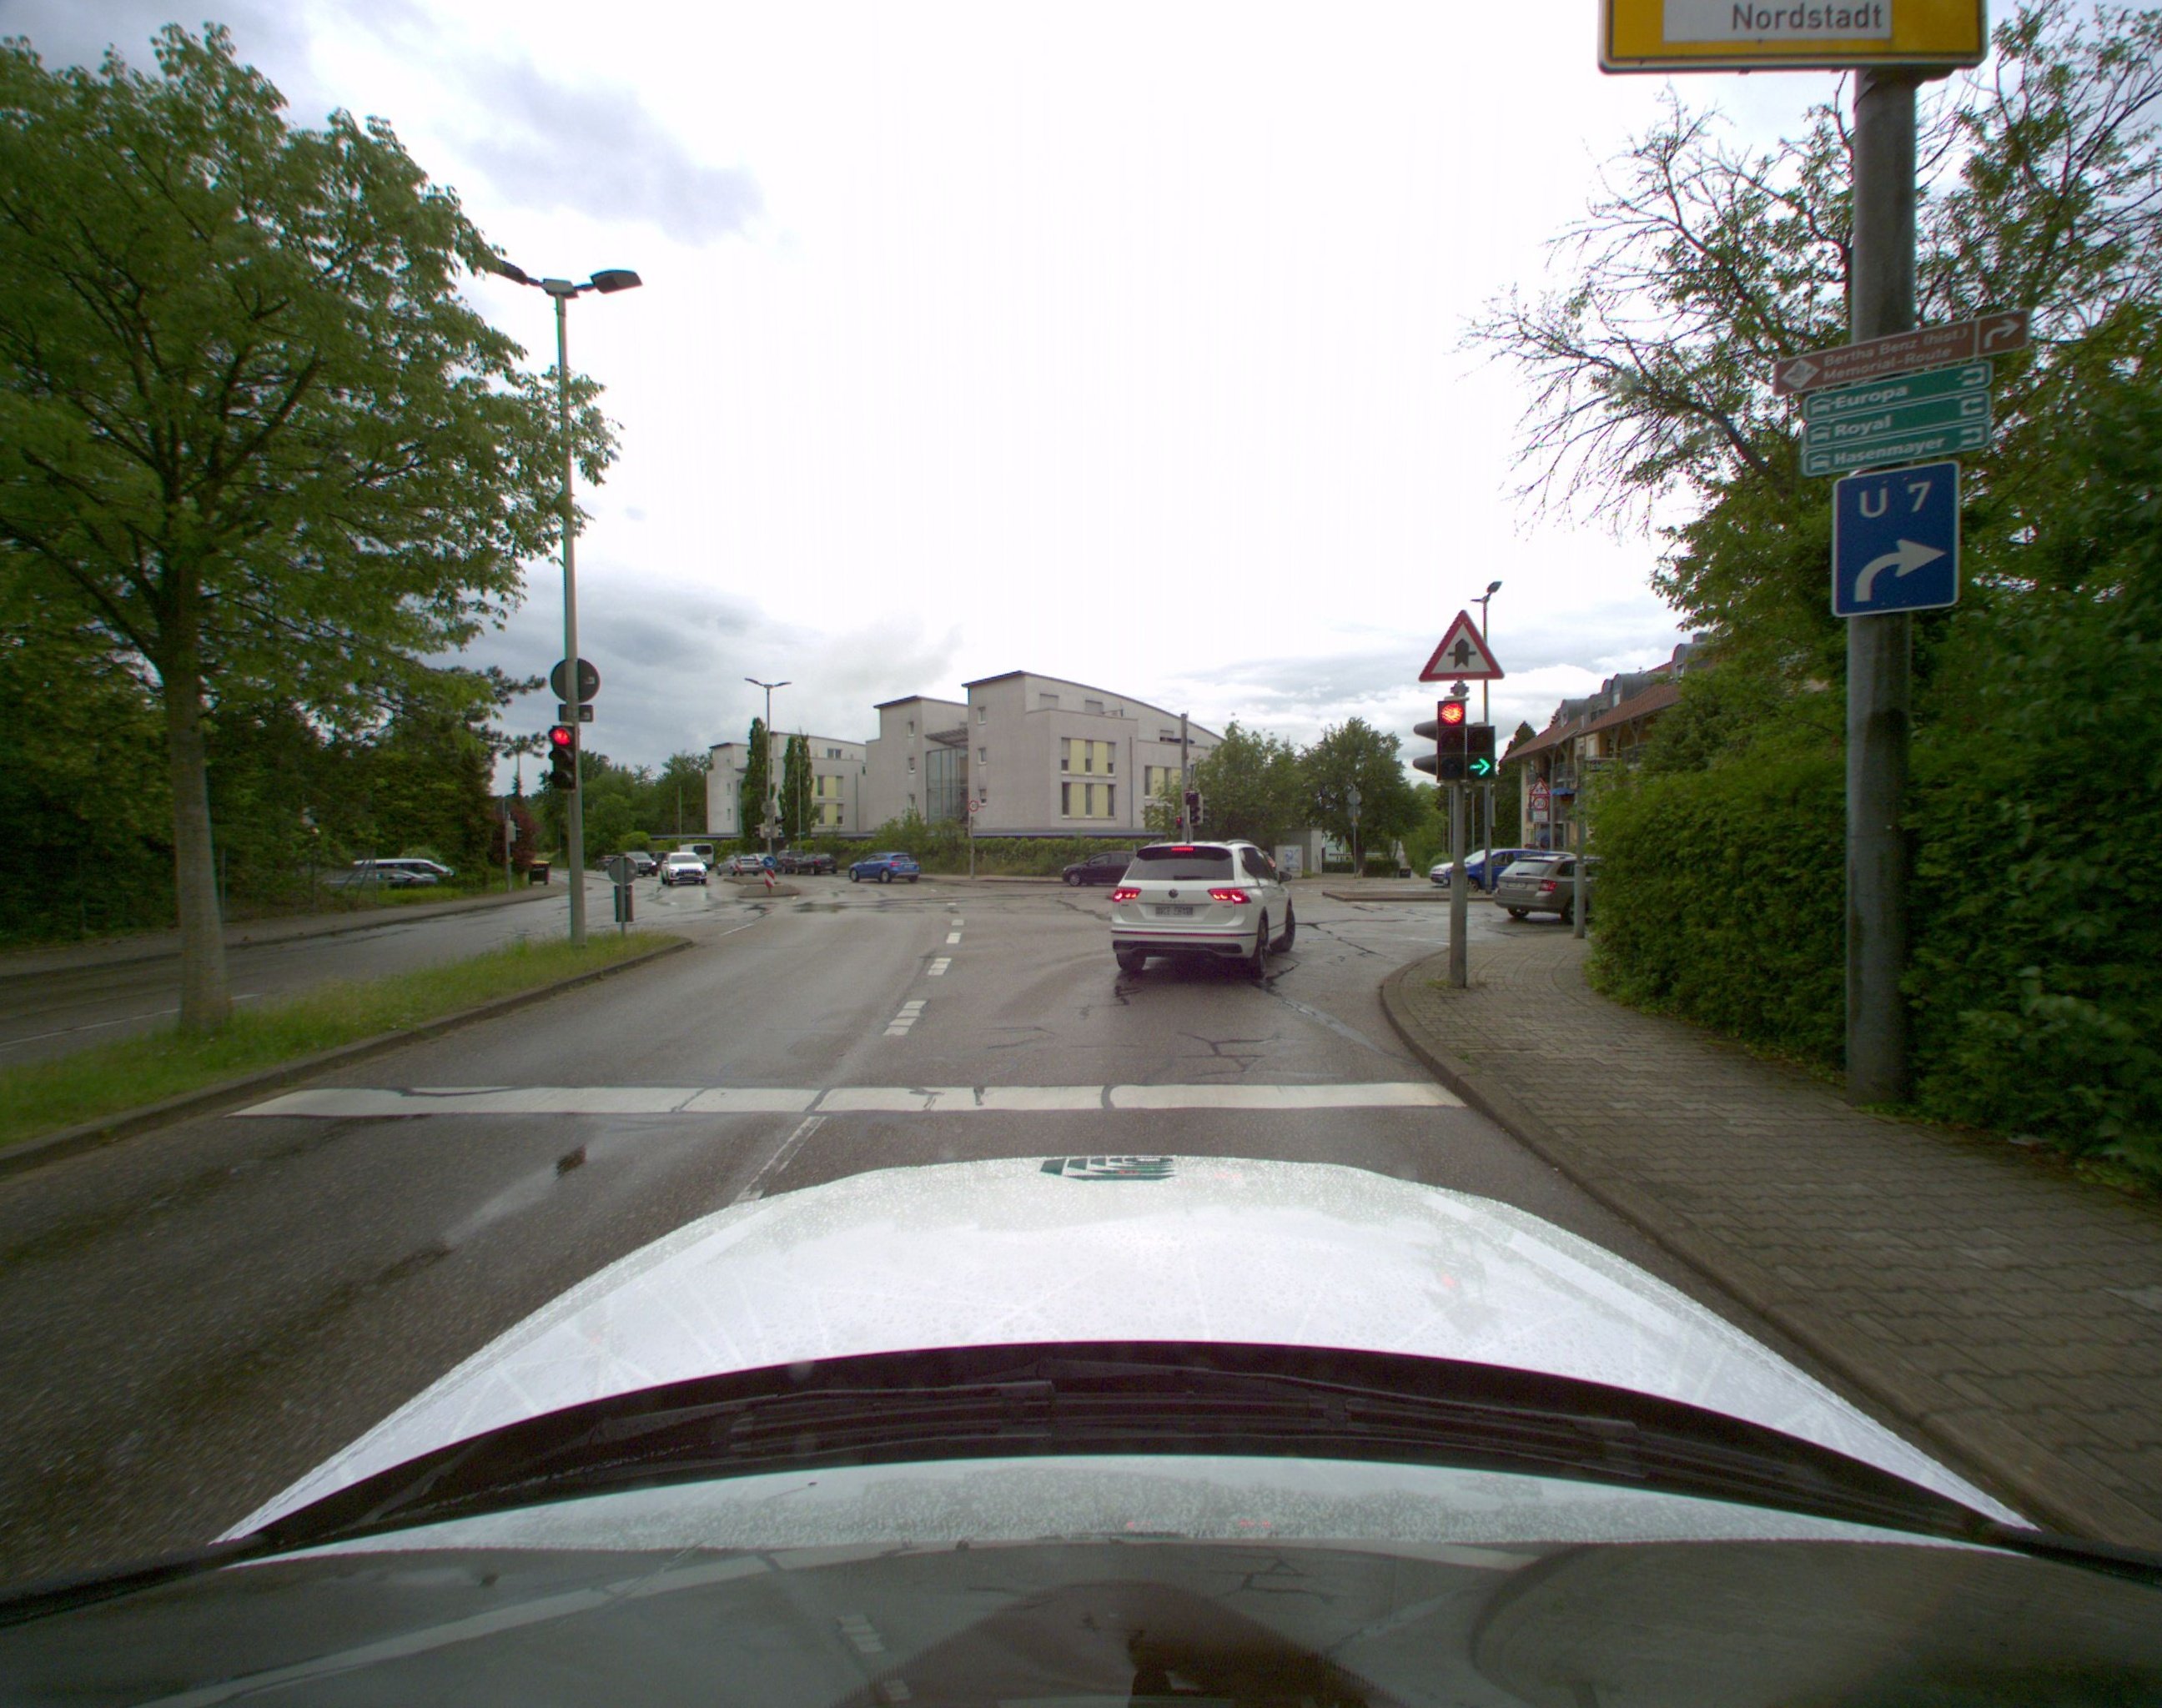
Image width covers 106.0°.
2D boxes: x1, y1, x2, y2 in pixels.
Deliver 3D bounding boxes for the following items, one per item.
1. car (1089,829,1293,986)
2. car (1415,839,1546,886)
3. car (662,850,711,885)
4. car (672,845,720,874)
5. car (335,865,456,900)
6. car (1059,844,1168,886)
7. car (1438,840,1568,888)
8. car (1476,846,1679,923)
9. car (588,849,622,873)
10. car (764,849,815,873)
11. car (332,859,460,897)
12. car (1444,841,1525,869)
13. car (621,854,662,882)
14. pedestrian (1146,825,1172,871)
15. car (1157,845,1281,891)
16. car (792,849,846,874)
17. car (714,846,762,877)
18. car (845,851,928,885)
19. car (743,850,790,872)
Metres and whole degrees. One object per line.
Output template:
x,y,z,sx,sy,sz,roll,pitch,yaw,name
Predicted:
1.729,0.583,11.265,1.905,1.722,4.286,0,0,20,car
14.813,0.311,30.280,3.989,1.670,1.993,0,1,-11,car
-20.323,0.645,41.890,2.006,1.639,3.963,-1,2,-29,car
-34.270,0.508,72.486,2.614,2.413,5.194,-2,-1,-40,car
-28.085,1.127,33.515,3.600,1.241,1.637,-1,2,-32,car
1.347,0.449,33.607,3.951,1.551,2.012,-2,2,24,car
13.493,0.322,26.172,3.408,1.456,1.529,-1,0,9,car
11.205,0.634,18.423,3.999,1.509,1.760,0,4,-19,car
-47.530,0.658,81.276,1.992,2.013,3.952,-2,5,-44,car
-20.744,0.491,57.833,2.011,1.555,3.952,-3,2,-42,car
-29.908,0.997,35.750,4.013,1.464,1.980,-1,2,-32,car
35.518,0.049,71.932,5.957,2.200,2.864,2,2,15,car
-31.025,0.939,57.444,2.009,1.815,3.957,-2,2,-35,car
3.508,-0.269,36.531,0.791,2.013,0.855,1,2,39,pedestrian
4.579,0.446,27.561,3.969,1.500,1.928,0,0,4,car
-17.599,0.492,54.610,2.011,1.555,3.952,-3,2,-42,car
-23.050,0.482,54.633,2.010,1.757,3.956,-1,4,-38,car
-9.779,0.666,40.903,3.949,1.555,2.013,0,2,39,car
-23.727,0.517,61.377,2.011,1.555,3.952,-3,2,-42,car
